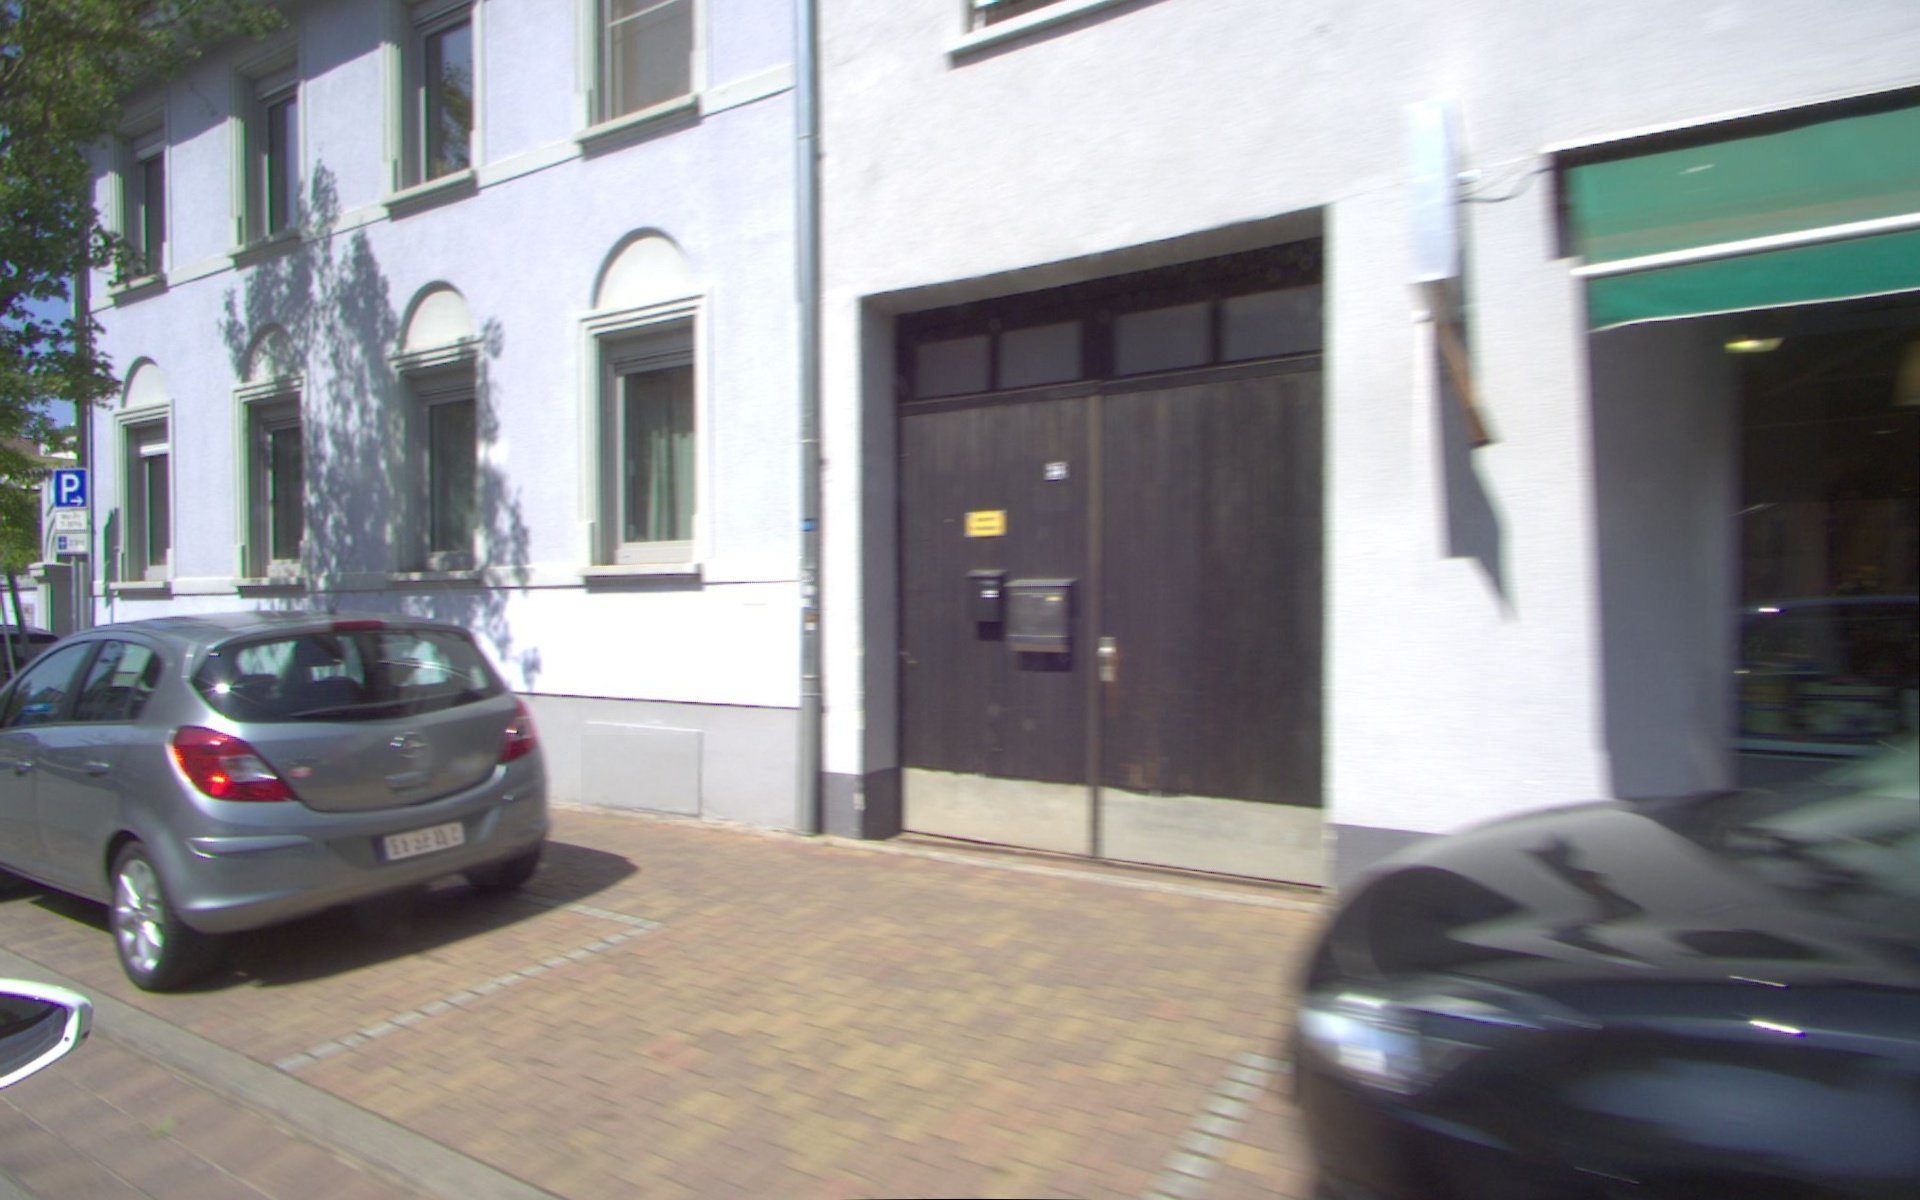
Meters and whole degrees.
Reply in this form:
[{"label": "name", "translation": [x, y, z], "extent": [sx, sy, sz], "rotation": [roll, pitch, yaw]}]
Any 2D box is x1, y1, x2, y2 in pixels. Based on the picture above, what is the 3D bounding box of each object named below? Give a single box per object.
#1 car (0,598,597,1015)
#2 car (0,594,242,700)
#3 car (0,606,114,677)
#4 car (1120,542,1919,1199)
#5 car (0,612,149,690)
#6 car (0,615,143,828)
[{"label": "car", "translation": [-3.992, 0.767, 5.413], "extent": [4.037, 1.501, 1.714], "rotation": [-1, 0, 32]}, {"label": "car", "translation": [-16.928, 0.831, 19.223], "extent": [2.116, 1.795, 4.622], "rotation": [0, 1, 30]}, {"label": "car", "translation": [-21.213, 0.917, 21.314], "extent": [1.809, 1.460, 4.534], "rotation": [0, 1, 25]}, {"label": "car", "translation": [2.288, 0.718, 1.520], "extent": [3.680, 1.533, 1.735], "rotation": [-1, -2, 31]}, {"label": "car", "translation": [-19.019, 1.006, 20.210], "extent": [1.716, 1.472, 3.728], "rotation": [0, 0, 25]}, {"label": "car", "translation": [-8.619, 0.894, 8.242], "extent": [3.863, 1.501, 1.701], "rotation": [0, 0, 30]}]
